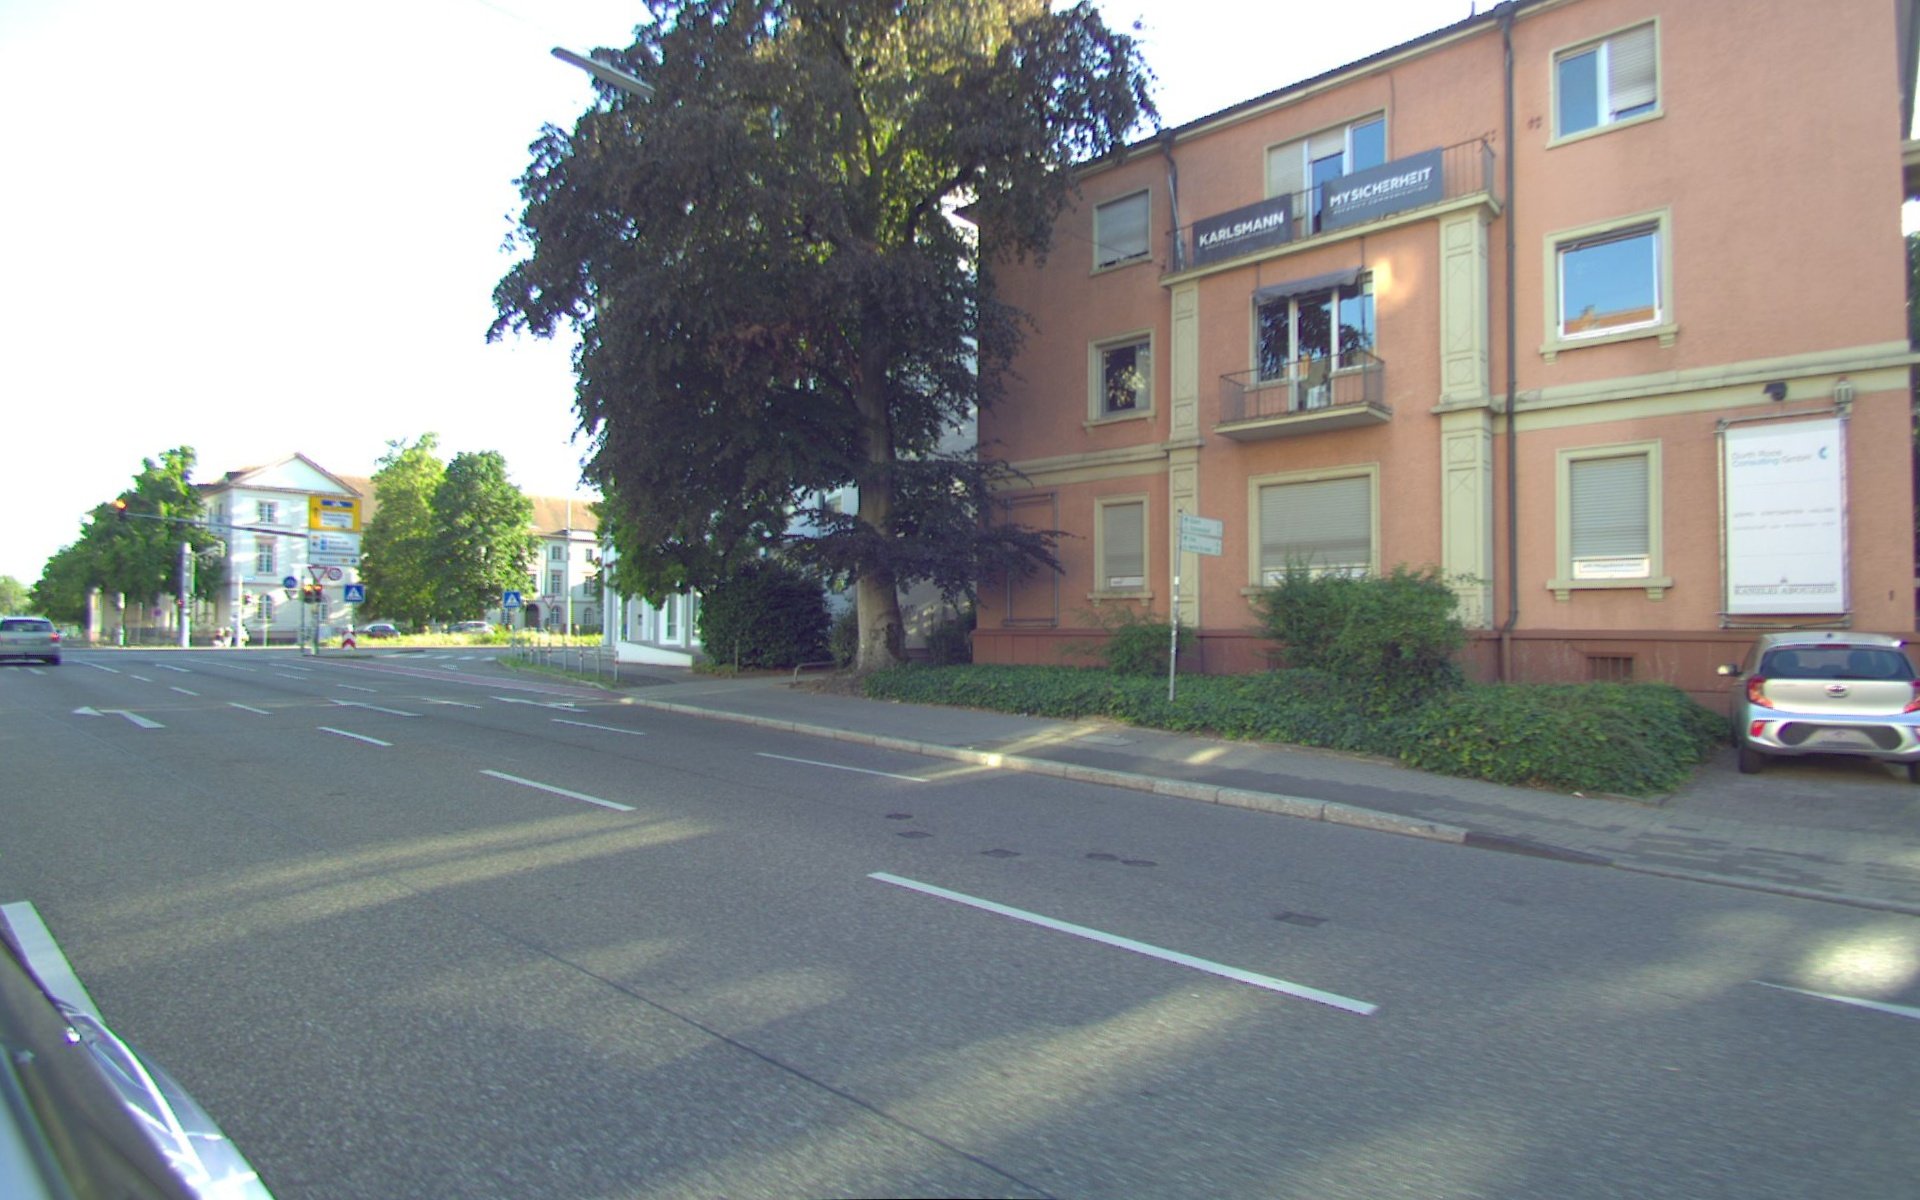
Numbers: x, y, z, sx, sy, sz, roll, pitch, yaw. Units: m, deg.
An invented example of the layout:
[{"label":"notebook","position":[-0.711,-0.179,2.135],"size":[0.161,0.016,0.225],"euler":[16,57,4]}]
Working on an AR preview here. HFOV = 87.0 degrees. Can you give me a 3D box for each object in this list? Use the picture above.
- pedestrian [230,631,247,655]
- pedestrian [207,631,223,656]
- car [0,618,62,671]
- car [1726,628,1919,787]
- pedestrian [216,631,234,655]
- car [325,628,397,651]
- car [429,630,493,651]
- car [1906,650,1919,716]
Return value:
[{"label":"pedestrian","position":[-49.915,2.970,70.048],"size":[0.880,1.663,0.671],"euler":[-2,-3,33]},{"label":"pedestrian","position":[-50.732,2.946,68.900],"size":[0.887,1.663,0.614],"euler":[-2,-3,33]},{"label":"car","position":[-29.318,1.374,31.431],"size":[4.606,1.526,1.807],"euler":[-2,-3,44]},{"label":"car","position":[9.714,1.074,11.270],"size":[1.813,1.497,3.464],"euler":[-2,-3,38]},{"label":"pedestrian","position":[-52.993,3.085,72.967],"size":[1.081,1.721,0.671],"euler":[-2,-3,33]},{"label":"car","position":[-39.302,2.565,66.482],"size":[1.997,1.457,3.601],"euler":[-2,-3,37]},{"label":"car","position":[-35.553,2.863,72.124],"size":[1.997,1.457,3.601],"euler":[-2,-3,37]},{"label":"car","position":[26.811,2.232,27.046],"size":[1.813,1.776,3.938],"euler":[-2,-3,38]}]
